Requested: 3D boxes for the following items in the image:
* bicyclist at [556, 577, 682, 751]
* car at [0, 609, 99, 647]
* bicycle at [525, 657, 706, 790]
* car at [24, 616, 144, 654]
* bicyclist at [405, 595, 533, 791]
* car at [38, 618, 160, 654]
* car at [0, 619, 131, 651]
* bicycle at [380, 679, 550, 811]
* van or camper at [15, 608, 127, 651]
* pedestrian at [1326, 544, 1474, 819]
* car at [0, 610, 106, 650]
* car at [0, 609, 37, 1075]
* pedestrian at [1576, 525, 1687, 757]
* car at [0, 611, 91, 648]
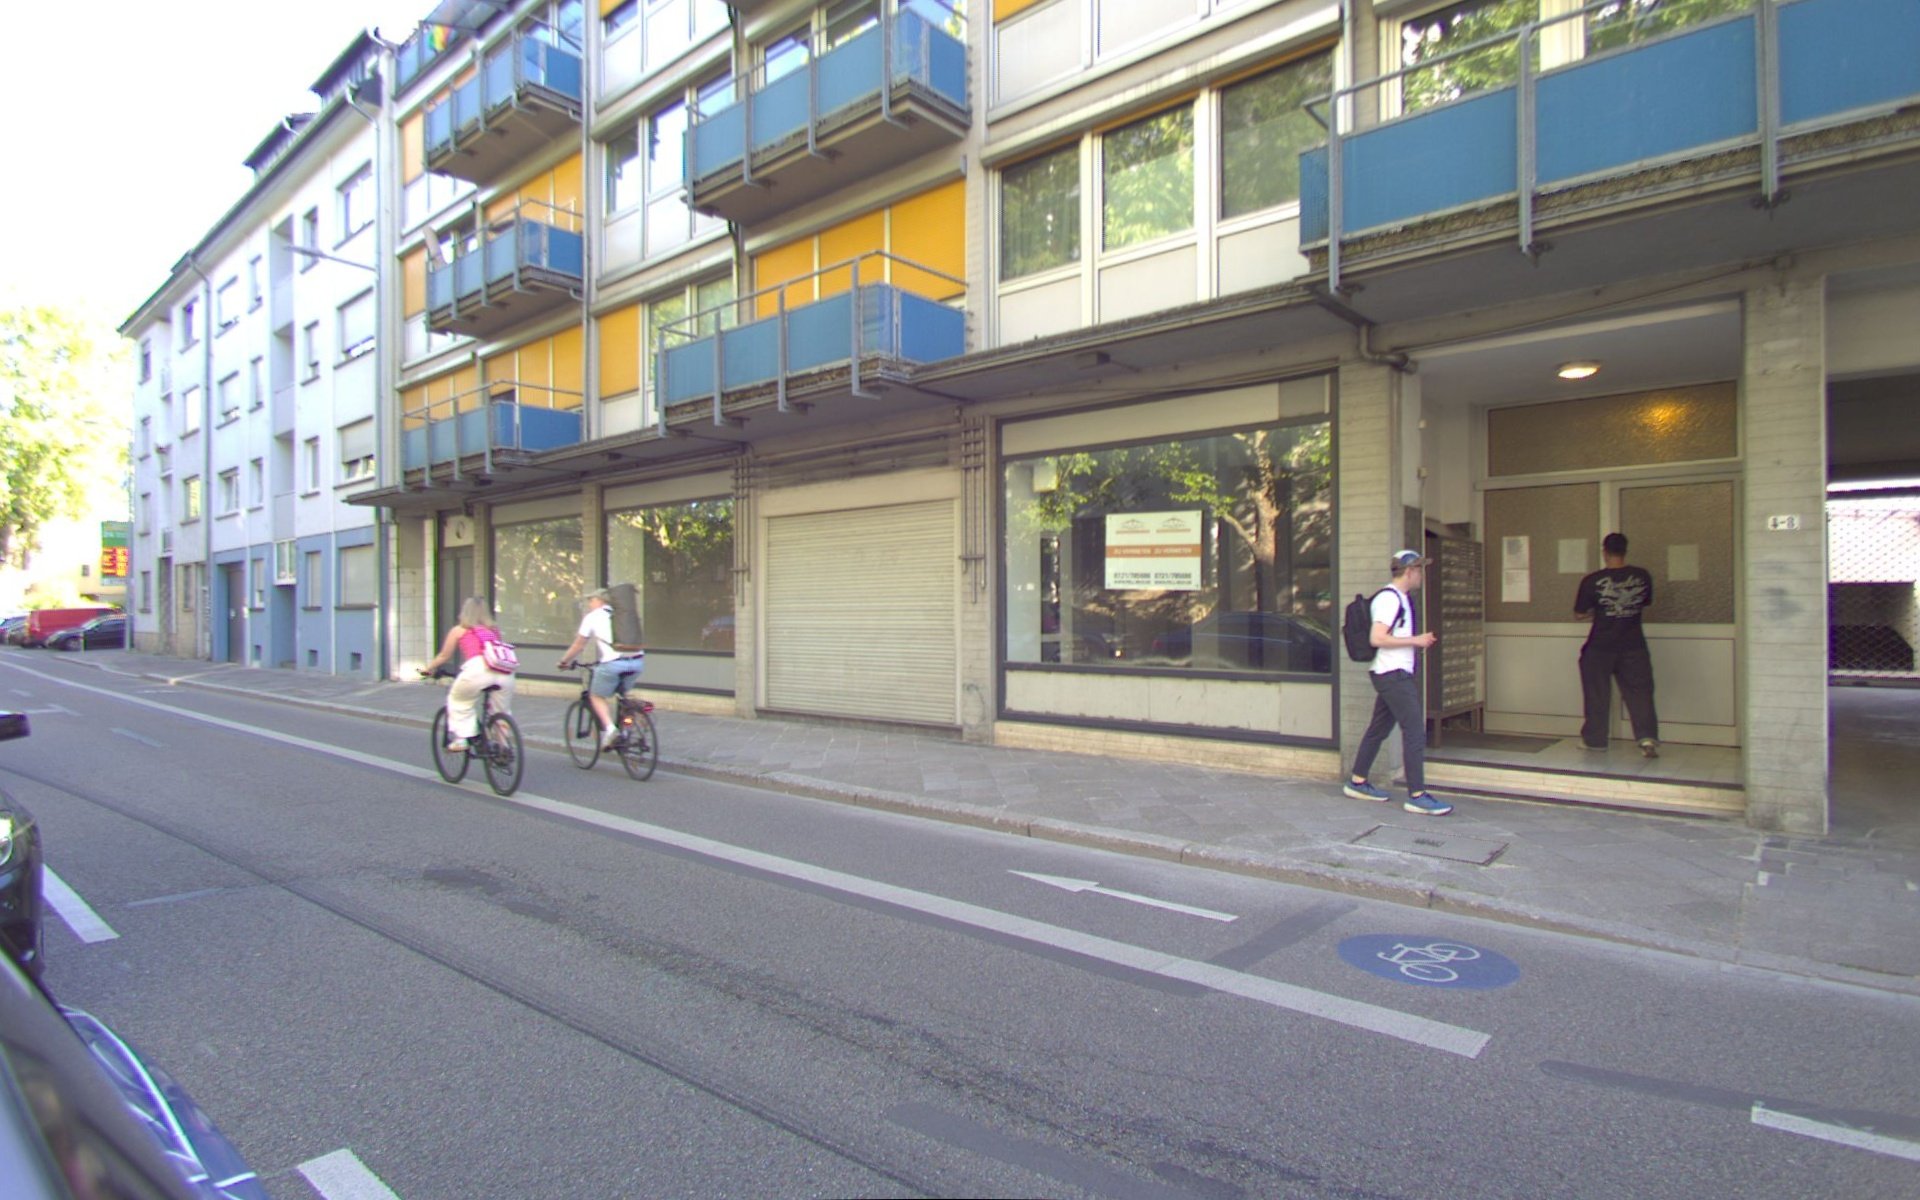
[{"bbox_3d":[-3.266,0.586,9.702,0.839,1.566,0.833,-1,-1,40],"label":"bicyclist"},{"bbox_3d":[-55.392,1.670,61.147,1.999,2.210,4.927,-1,-1,41],"label":"car"},{"bbox_3d":[-3.358,1.133,9.783,1.835,1.087,0.854,-1,-1,41],"label":"bicycle"},{"bbox_3d":[-41.624,1.618,48.163,1.999,1.703,4.093,-1,-1,41],"label":"car"},{"bbox_3d":[-4.277,0.761,8.803,0.981,1.590,0.677,-1,-1,41],"label":"bicyclist"},{"bbox_3d":[-39.743,1.630,46.778,1.999,1.506,4.093,-1,-1,41],"label":"car"},{"bbox_3d":[-45.712,1.749,51.697,1.999,1.506,4.927,-1,-1,41],"label":"car"},{"bbox_3d":[-4.377,1.215,8.880,1.862,0.936,0.686,-1,-1,42],"label":"bicycle"},{"bbox_3d":[-43.880,1.429,50.005,1.999,2.029,3.946,-1,-1,40],"label":"van or camper"},{"bbox_3d":[3.108,0.538,7.135,0.875,1.813,0.595,-2,0,28],"label":"pedestrian"},{"bbox_3d":[-53.305,1.735,59.196,1.999,2.210,4.927,-1,-1,41],"label":"car"},{"bbox_3d":[-4.994,0.794,3.850,3.861,1.467,1.718,-1,-1,40],"label":"car"},{"bbox_3d":[5.264,0.309,7.935,0.661,1.726,0.541,-1,-1,38],"label":"pedestrian"},{"bbox_3d":[-57.386,1.820,62.857,1.999,2.210,4.927,-1,-1,41],"label":"car"}]
